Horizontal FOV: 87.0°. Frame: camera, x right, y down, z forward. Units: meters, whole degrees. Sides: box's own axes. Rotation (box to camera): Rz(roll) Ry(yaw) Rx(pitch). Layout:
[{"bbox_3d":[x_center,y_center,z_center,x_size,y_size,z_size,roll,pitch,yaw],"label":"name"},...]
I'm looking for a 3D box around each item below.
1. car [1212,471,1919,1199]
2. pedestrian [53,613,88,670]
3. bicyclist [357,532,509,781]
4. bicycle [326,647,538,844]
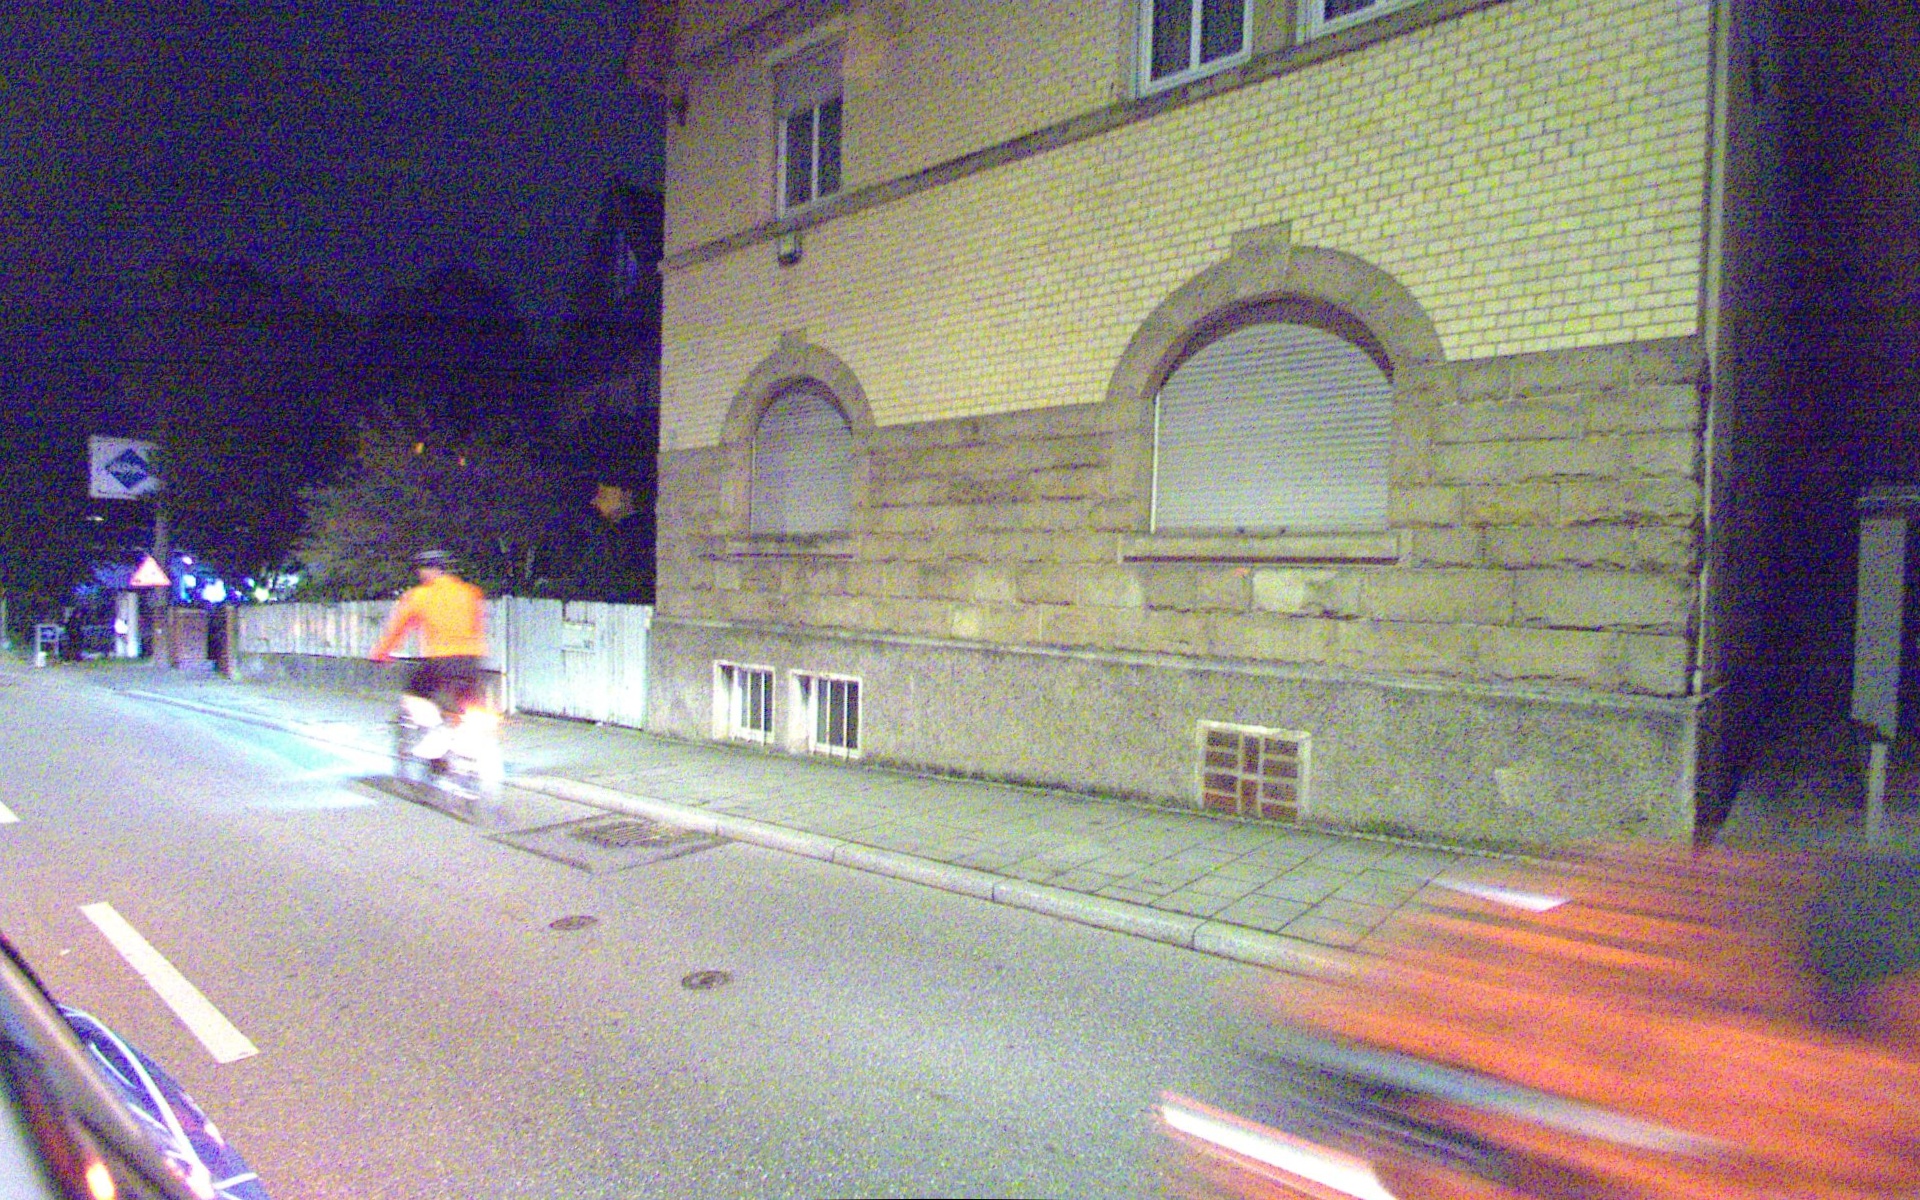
[{"bbox_3d":[2.104,0.628,0.712,3.394,1.513,1.565,-1,-1,41],"label":"car"},{"bbox_3d":[-27.741,1.280,31.564,0.865,1.739,0.662,-1,-1,38],"label":"pedestrian"},{"bbox_3d":[-3.784,0.373,7.258,0.896,1.649,0.683,-1,0,41],"label":"bicyclist"},{"bbox_3d":[-3.822,0.955,7.250,1.950,1.157,0.689,-1,0,41],"label":"bicycle"}]
